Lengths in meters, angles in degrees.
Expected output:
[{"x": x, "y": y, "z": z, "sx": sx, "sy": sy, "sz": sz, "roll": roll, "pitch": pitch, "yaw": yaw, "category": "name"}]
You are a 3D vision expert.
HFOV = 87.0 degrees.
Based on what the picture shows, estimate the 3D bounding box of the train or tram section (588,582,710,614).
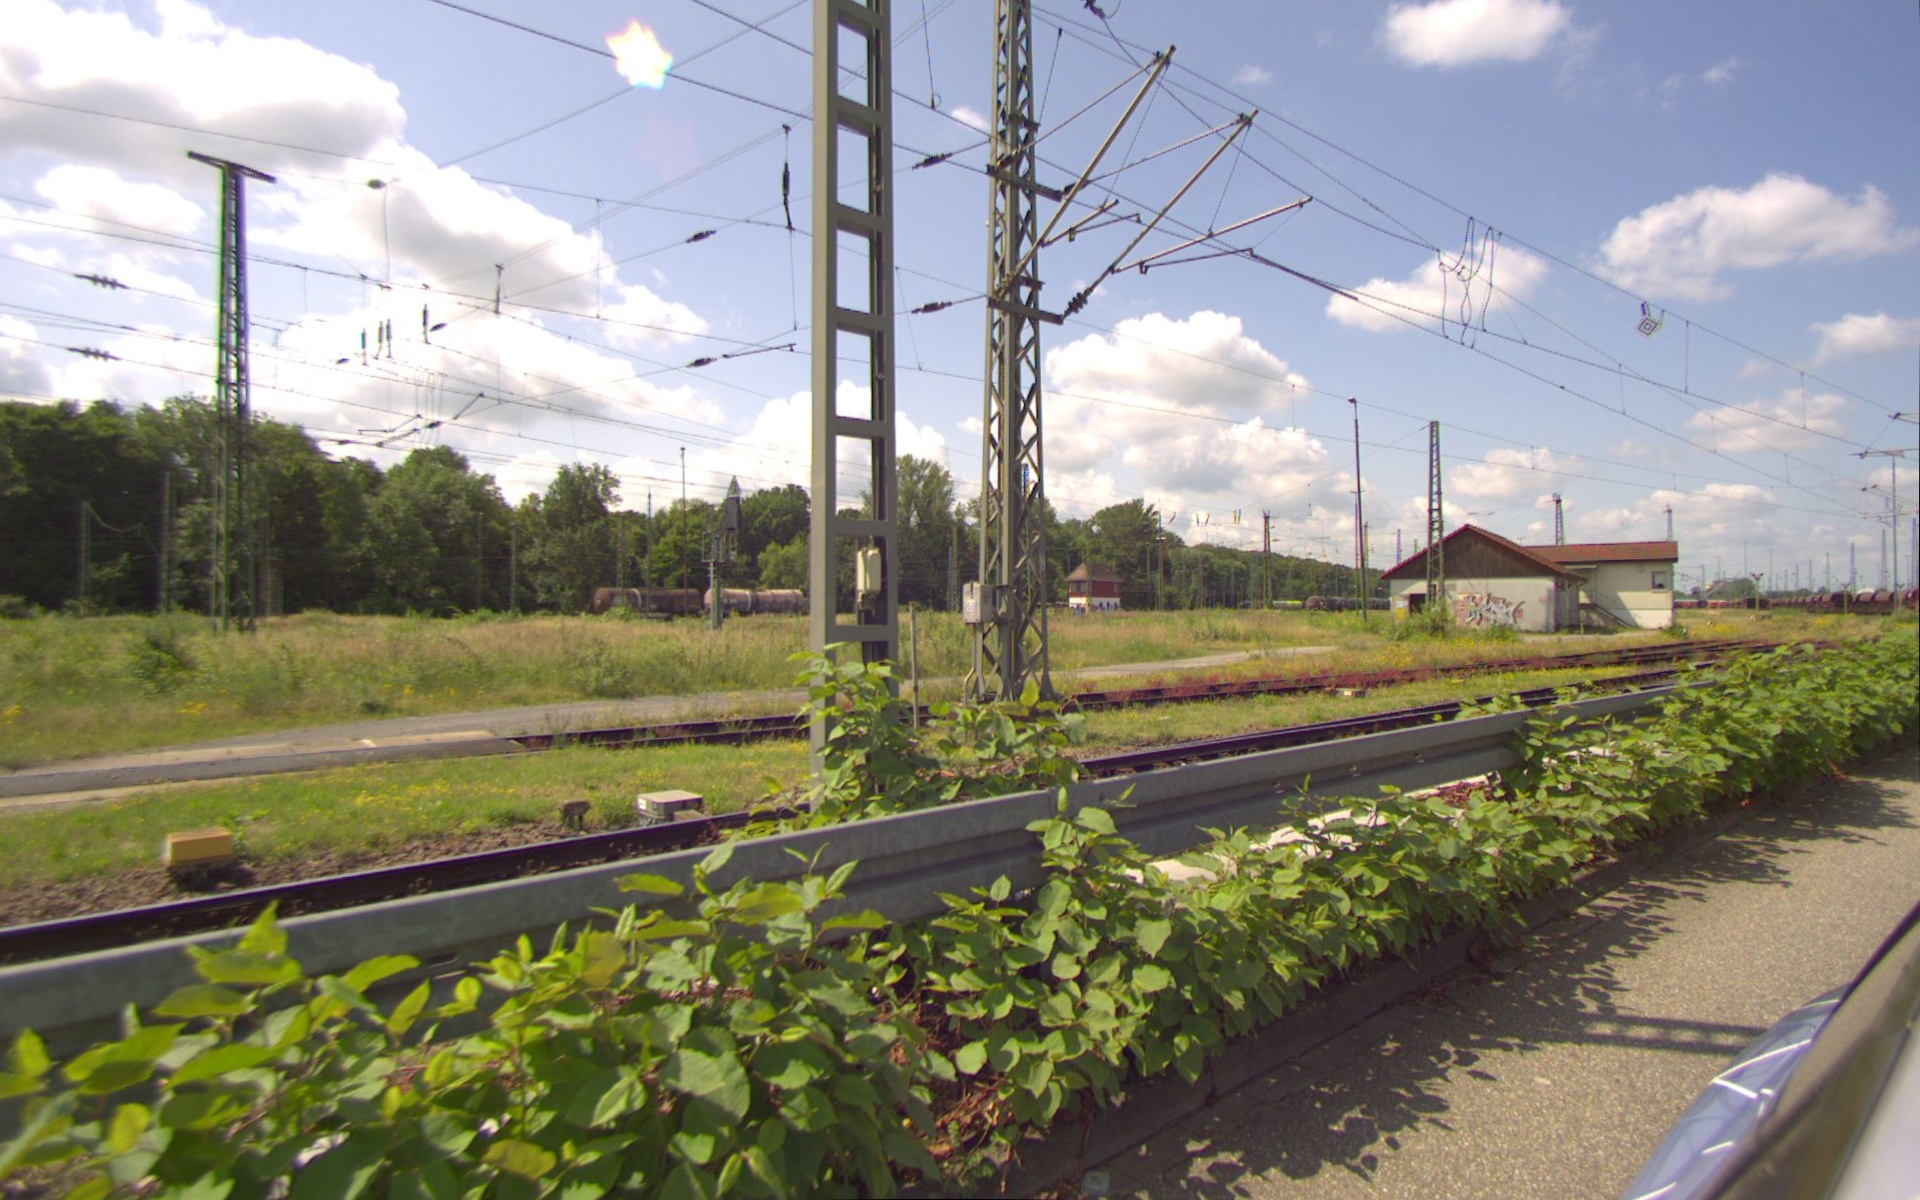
[{"x": -33.936, "y": -0.275, "z": 111.389, "sx": 3.016, "sy": 3.347, "sz": 13.757, "roll": -1, "pitch": 0, "yaw": 36, "category": "train or tram section"}]

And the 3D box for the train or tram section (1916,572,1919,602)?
[{"x": 121.611, "y": -1.637, "z": 125.692, "sx": 3.287, "sy": 3.764, "sz": 12.368, "roll": -1, "pitch": -1, "yaw": 40, "category": "train or tram section"}]

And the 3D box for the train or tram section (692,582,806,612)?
[{"x": -25.393, "y": -0.410, "z": 123.160, "sx": 3.016, "sy": 3.347, "sz": 15.554, "roll": -1, "pitch": 0, "yaw": 36, "category": "train or tram section"}]
